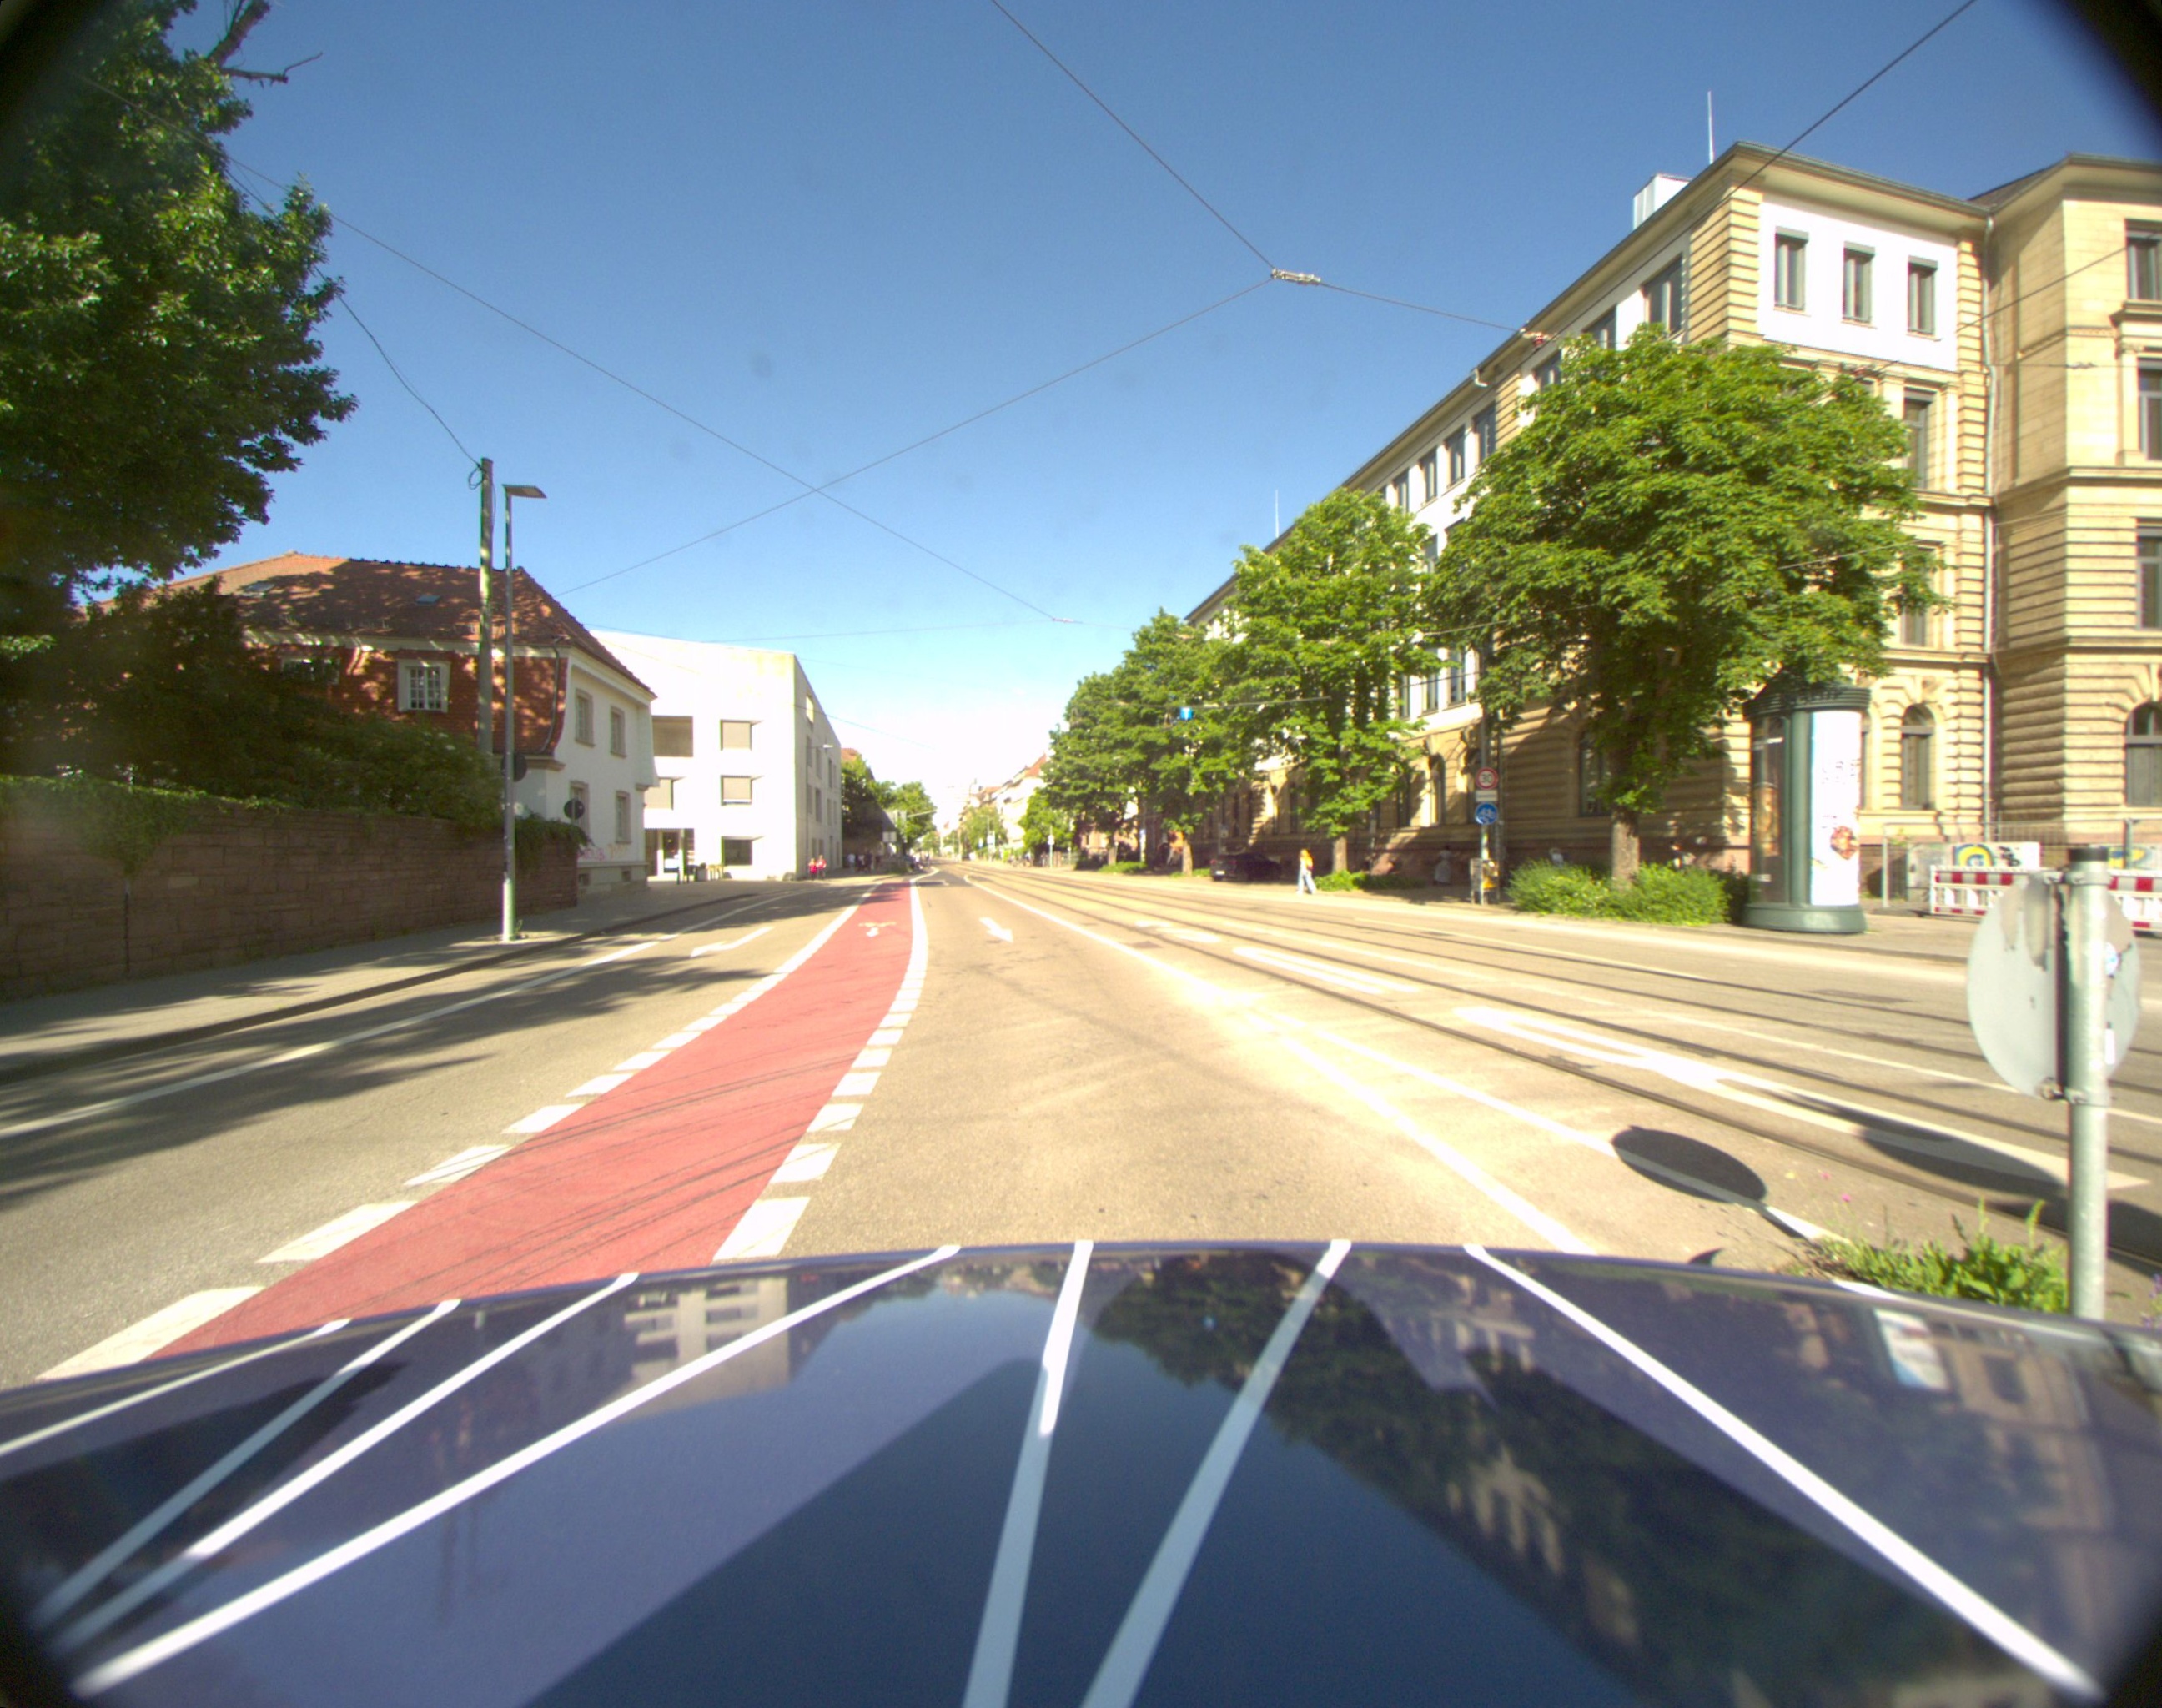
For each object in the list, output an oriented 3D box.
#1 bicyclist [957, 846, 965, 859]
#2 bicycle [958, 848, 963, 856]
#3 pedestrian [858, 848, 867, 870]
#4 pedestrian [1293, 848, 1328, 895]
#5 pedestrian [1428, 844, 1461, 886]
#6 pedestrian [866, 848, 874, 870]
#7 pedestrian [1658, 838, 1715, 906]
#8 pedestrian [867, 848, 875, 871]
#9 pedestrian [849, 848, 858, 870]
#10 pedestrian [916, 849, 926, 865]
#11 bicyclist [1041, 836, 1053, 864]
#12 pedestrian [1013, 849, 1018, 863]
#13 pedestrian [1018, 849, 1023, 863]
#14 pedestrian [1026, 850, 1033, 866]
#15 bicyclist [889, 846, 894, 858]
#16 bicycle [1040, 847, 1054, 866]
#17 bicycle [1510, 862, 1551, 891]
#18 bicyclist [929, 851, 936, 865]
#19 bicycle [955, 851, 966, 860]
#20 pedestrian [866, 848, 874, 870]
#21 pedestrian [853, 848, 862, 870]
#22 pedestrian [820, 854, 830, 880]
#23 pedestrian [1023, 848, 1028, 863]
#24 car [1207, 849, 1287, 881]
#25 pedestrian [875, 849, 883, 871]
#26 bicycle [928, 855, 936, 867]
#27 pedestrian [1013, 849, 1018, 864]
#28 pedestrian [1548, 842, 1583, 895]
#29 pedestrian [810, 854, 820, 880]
[{"bbox_3d":[-21.928,-0.226,138.643,1.005,2.255,1.018,-3,2,-29],"label":"bicyclist"},{"bbox_3d":[-28.490,-0.443,179.286,1.004,1.672,2.981,-2,2,-12],"label":"bicycle"},{"bbox_3d":[-17.585,0.388,61.140,0.588,1.795,0.545,-1,1,-13],"label":"pedestrian"},{"bbox_3d":[8.420,0.651,27.911,0.772,1.658,1.033,2,-3,-17],"label":"pedestrian"},{"bbox_3d":[14.130,0.431,29.524,0.858,1.558,0.672,-4,2,-9],"label":"pedestrian"},{"bbox_3d":[-17.914,0.413,64.624,0.588,1.795,0.545,-1,1,-13],"label":"pedestrian"},{"bbox_3d":[15.502,0.435,19.469,0.730,1.660,0.844,-1,3,-20],"label":"pedestrian"},{"bbox_3d":[-16.941,0.427,61.274,0.588,1.795,0.519,-1,1,-13],"label":"pedestrian"},{"bbox_3d":[-18.264,0.383,60.966,0.588,1.795,0.545,-1,1,-13],"label":"pedestrian"},{"bbox_3d":[-17.786,0.364,84.632,0.933,1.728,0.677,-1,1,-31],"label":"pedestrian"},{"bbox_3d":[-3.700,-0.484,82.242,1.003,2.959,1.474,-1,2,4],"label":"bicyclist"},{"bbox_3d":[-8.511,0.257,98.333,0.579,1.845,0.684,0,1,-11],"label":"pedestrian"},{"bbox_3d":[-7.864,0.234,98.505,0.579,1.845,0.684,0,1,-11],"label":"pedestrian"},{"bbox_3d":[-6.084,0.503,90.289,0.729,1.845,0.653,0,1,-9],"label":"pedestrian"},{"bbox_3d":[-35.019,-0.291,140.400,0.813,2.194,0.983,-2,2,-10],"label":"bicyclist"},{"bbox_3d":[-3.657,0.233,82.432,1.003,1.876,3.894,-1,2,4],"label":"bicycle"},{"bbox_3d":[15.273,0.748,25.845,0.398,0.898,1.359,-2,2,-10],"label":"bicycle"},{"bbox_3d":[-15.962,0.405,81.487,0.665,1.453,0.622,-2,2,-8],"label":"bicyclist"},{"bbox_3d":[-21.926,0.283,138.683,1.005,1.672,2.977,-3,2,-29],"label":"bicycle"},{"bbox_3d":[-17.587,0.400,63.390,0.588,1.795,0.582,-1,1,-13],"label":"pedestrian"},{"bbox_3d":[-18.471,0.392,62.800,0.588,1.795,0.582,-1,1,-13],"label":"pedestrian"},{"bbox_3d":[-15.673,0.776,46.520,0.535,1.557,0.519,-1,1,-13],"label":"pedestrian"},{"bbox_3d":[-6.813,0.171,93.709,0.579,1.845,0.653,0,1,-11],"label":"pedestrian"},{"bbox_3d":[8.635,0.545,39.433,4.118,1.565,1.916,-1,1,-39],"label":"car"},{"bbox_3d":[-16.352,0.467,61.414,0.588,1.717,0.519,-1,1,-13],"label":"pedestrian"},{"bbox_3d":[-15.954,0.729,81.517,0.665,1.146,1.670,-2,2,-8],"label":"bicycle"},{"bbox_3d":[-8.210,0.331,95.171,0.579,1.845,0.684,0,1,-11],"label":"pedestrian"},{"bbox_3d":[14.354,0.420,22.500,0.579,1.553,0.653,0,1,-12],"label":"pedestrian"},{"bbox_3d":[-16.358,0.790,46.730,0.535,1.557,0.519,-1,1,-13],"label":"pedestrian"}]
